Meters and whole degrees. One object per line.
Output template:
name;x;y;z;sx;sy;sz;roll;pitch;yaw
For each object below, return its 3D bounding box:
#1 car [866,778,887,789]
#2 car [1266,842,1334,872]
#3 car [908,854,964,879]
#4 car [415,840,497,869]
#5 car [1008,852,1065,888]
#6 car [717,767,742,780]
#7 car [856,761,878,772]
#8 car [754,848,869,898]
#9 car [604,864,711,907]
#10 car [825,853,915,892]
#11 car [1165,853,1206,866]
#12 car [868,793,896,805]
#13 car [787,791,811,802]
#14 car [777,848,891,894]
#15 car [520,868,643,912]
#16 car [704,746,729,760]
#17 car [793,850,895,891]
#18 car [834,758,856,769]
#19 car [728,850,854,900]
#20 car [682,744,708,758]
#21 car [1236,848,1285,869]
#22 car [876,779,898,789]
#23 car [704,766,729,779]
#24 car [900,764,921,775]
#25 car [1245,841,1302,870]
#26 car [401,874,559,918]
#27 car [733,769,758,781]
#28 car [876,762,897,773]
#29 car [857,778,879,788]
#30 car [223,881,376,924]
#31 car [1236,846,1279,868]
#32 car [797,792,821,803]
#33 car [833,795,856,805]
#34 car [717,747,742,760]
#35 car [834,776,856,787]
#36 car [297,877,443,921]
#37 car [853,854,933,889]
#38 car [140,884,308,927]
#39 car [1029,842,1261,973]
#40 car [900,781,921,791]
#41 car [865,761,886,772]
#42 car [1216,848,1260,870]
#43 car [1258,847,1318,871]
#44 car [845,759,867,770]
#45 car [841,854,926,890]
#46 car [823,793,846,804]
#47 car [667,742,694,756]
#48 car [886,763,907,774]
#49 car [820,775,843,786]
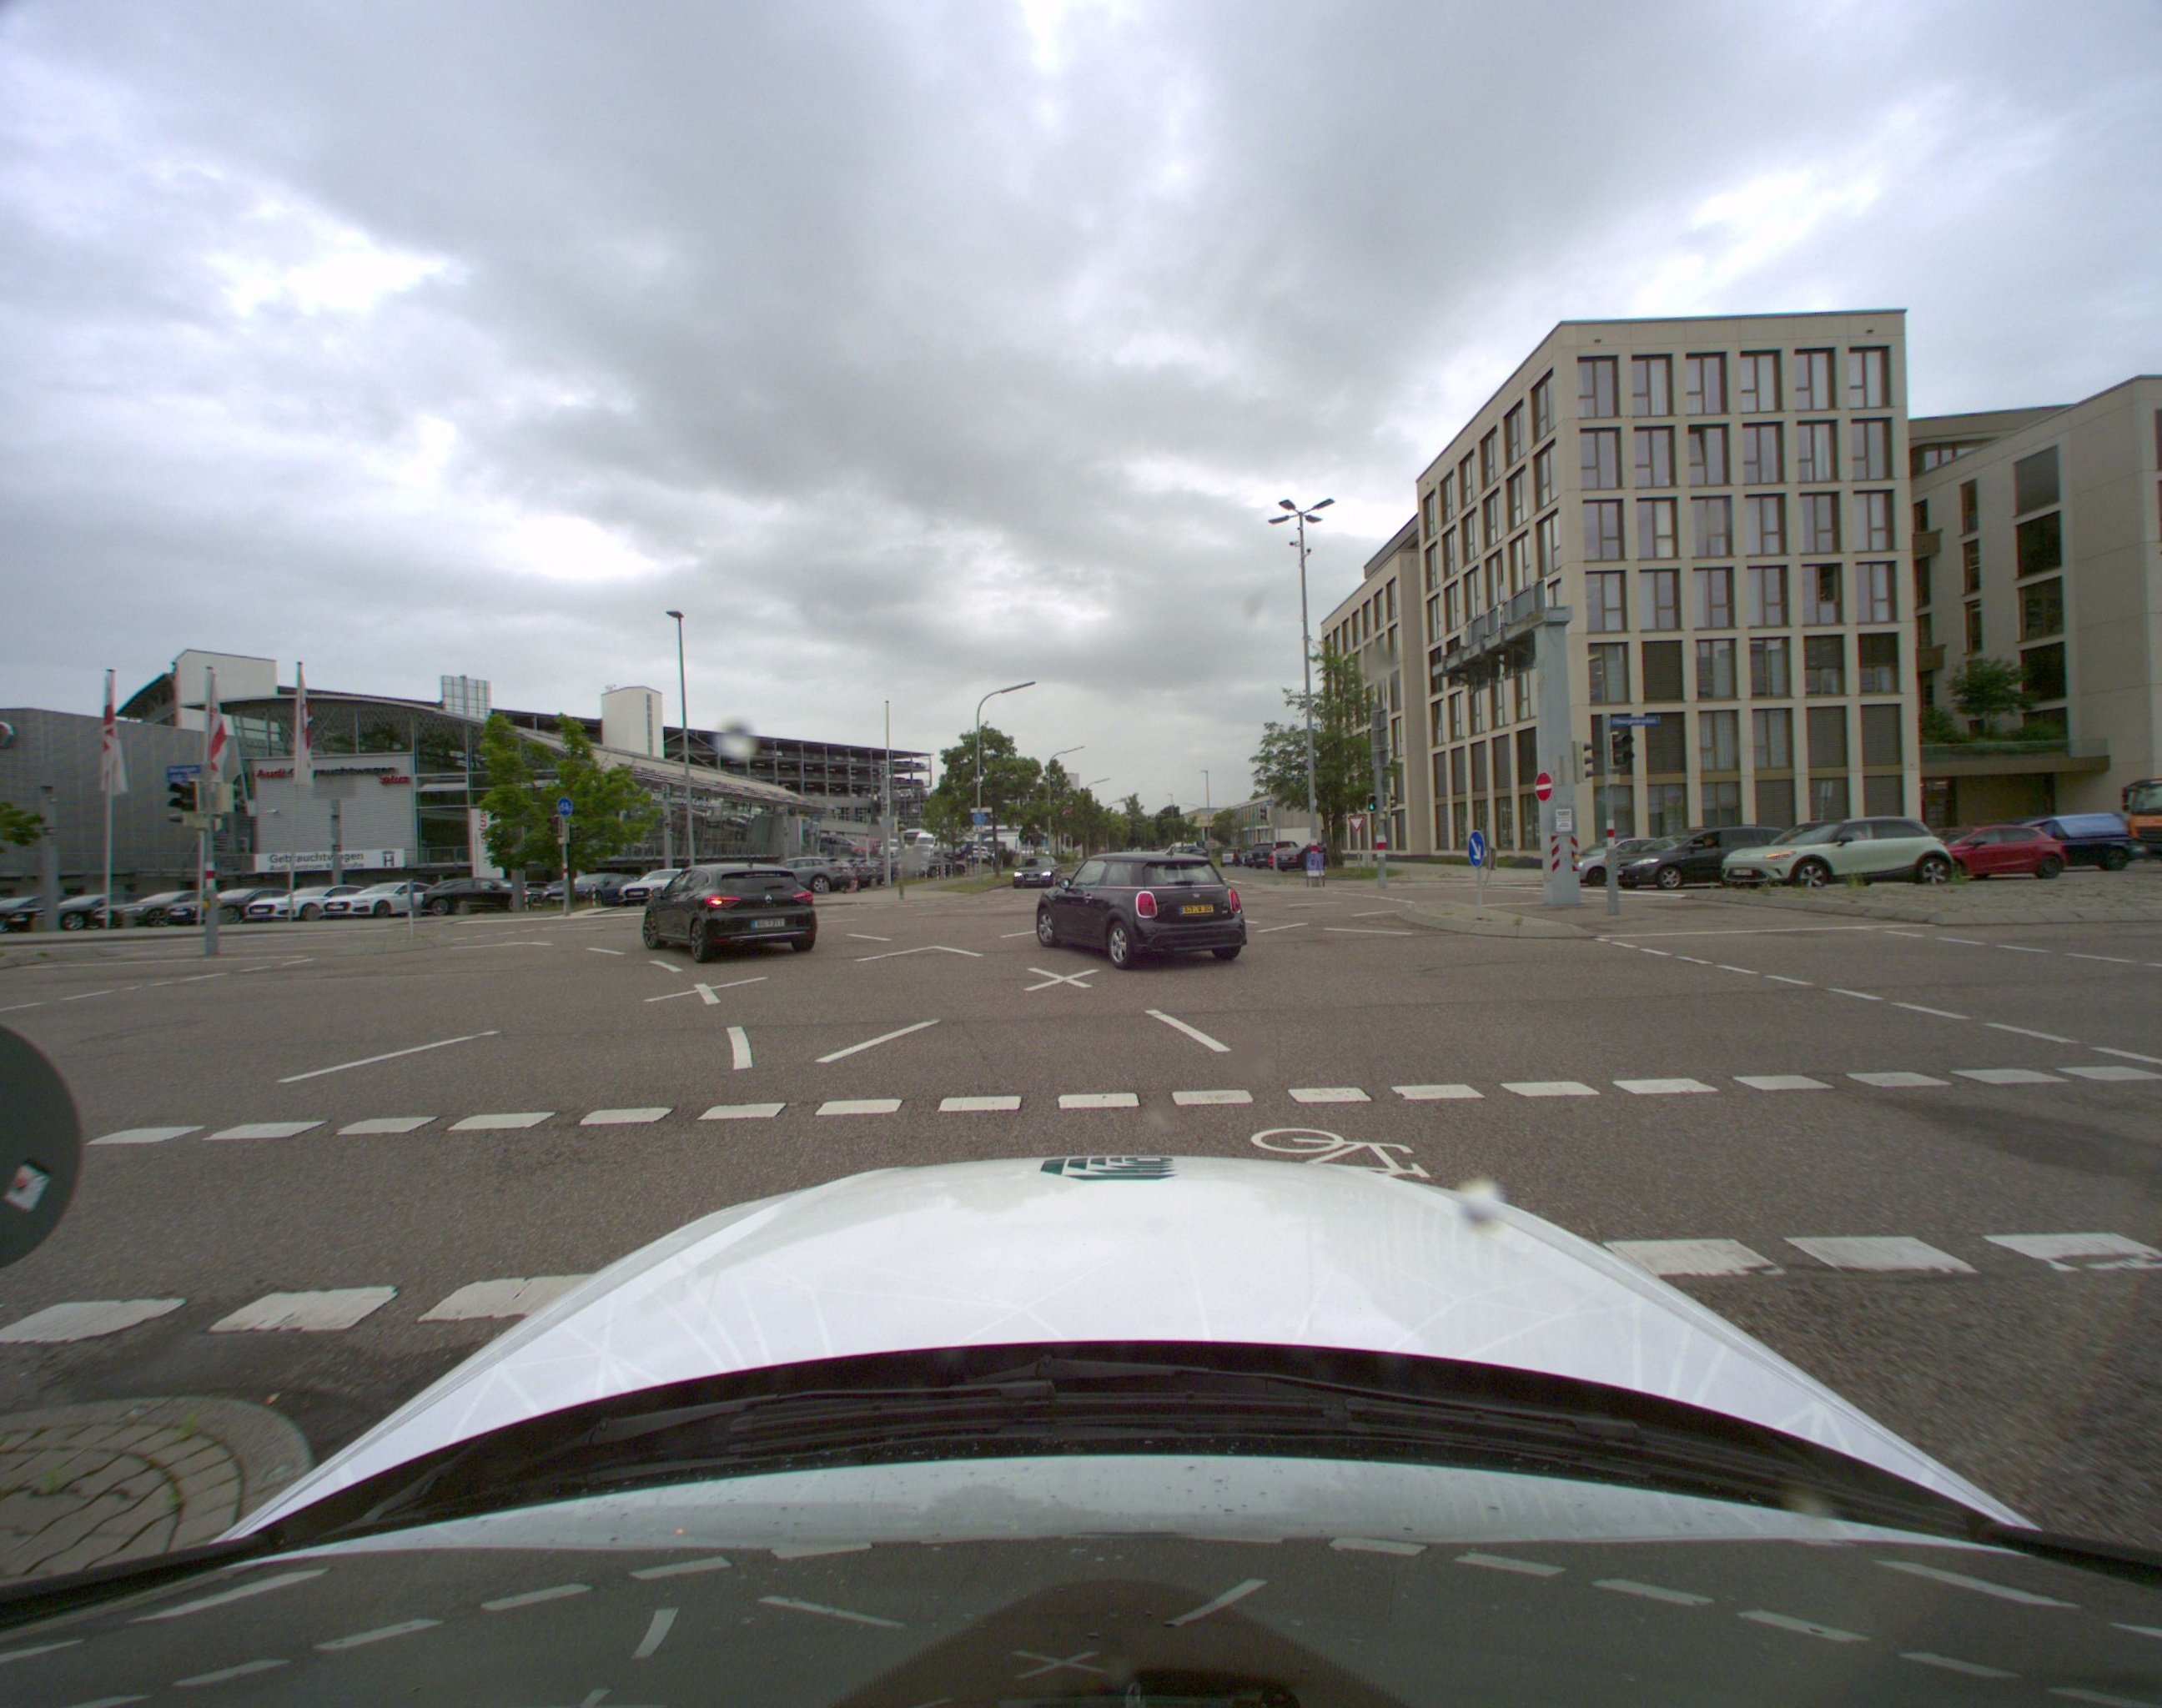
car;-39.944;-13.747;159.088;3.948;1.667;2.013;-1;0;35
car;13.603;0.190;50.516;4.152;1.768;1.868;-1;-1;-36
car;-11.227;0.961;63.034;3.973;1.838;1.760;0;-1;0
car;-36.904;0.049;48.206;1.814;1.662;3.997;0;-1;-1
car;-1.994;0.696;37.880;1.969;1.551;4.619;-2;0;4
car;-57.588;-13.178;133.458;3.948;1.667;2.013;-1;0;35
car;-41.503;-17.017;157.632;3.948;1.667;2.013;-1;0;35
car;-12.769;0.878;38.809;4.687;2.014;1.999;-4;-1;-1
car;-16.403;1.227;31.823;1.862;1.486;4.229;-3;-2;1
car;-12.851;1.144;49.781;4.879;2.014;1.999;-4;-1;-2
car;13.794;0.748;107.758;5.155;1.720;2.144;0;-1;1
car;-39.643;-10.880;162.040;5.262;1.945;2.225;-1;0;32
car;-49.957;-10.121;144.235;3.948;1.667;2.013;-1;0;35
car;-12.607;0.867;41.816;5.008;2.014;2.265;-4;-1;-1
car;-19.331;1.425;31.778;2.057;1.486;4.513;-3;-3;-2
car;-58.901;-16.313;131.625;3.948;1.667;2.013;-1;0;35
car;-12.866;0.903;44.464;4.935;1.876;2.051;-4;-1;-3
car;-44.301;-16.957;152.786;3.948;1.667;2.013;-1;0;35
car;-12.821;0.913;36.236;4.759;1.863;1.999;-4;-1;-2
car;-61.265;-16.339;129.267;3.948;1.667;2.013;-1;0;35
car;13.603;0.315;61.576;3.839;1.511;1.676;-1;-1;-44
car;-38.512;-13.852;161.543;3.948;1.667;2.013;-1;0;35
car;-58.858;-13.204;131.487;3.948;1.667;2.013;-1;0;35
car;-34.992;-17.304;166.904;3.948;1.667;2.013;-1;0;35
car;13.781;0.093;58.158;1.975;1.965;4.270;-3;-2;45
car;-23.379;1.645;31.800;4.724;1.486;1.892;-2;-3;0
car;-55.856;-13.154;135.524;3.948;1.667;2.013;-1;0;35
car;-38.597;-17.208;161.619;3.948;1.667;2.013;-1;0;35
car;-41.204;-13.689;157.188;3.948;1.667;2.013;-1;0;35
car;-29.701;1.829;31.156;1.864;1.486;4.043;-2;-3;0
car;14.373;0.269;66.254;3.450;1.798;1.572;0;-1;-38
car;-48.824;-10.098;146.150;3.948;1.667;2.013;-1;0;35
car;-44.403;-10.164;153.018;3.948;1.667;2.013;-1;0;35
car;-57.715;-16.498;133.750;3.948;1.667;2.013;-1;0;35
car;-44.245;-13.638;152.578;3.948;1.667;2.013;-1;0;35
car;-27.187;1.724;31.366;1.840;1.486;4.198;-2;-3;1
car;-12.718;1.211;55.337;4.879;2.014;1.999;-4;-1;-2
car;-32.504;1.937;31.091;1.859;1.486;4.231;-2;-3;1
car;0.716;0.593;11.496;1.794;1.415;3.615;-1;3;-24
car;-34.918;-13.822;166.673;3.948;1.667;2.013;-1;0;35
car;-40.261;-17.073;159.493;3.948;1.667;2.013;-1;0;35
car;13.059;0.438;67.800;3.450;1.732;1.746;0;-1;-38
car;14.009;0.322;54.934;4.156;1.551;1.866;-1;-1;-42
car;-42.791;-17.010;155.014;3.948;1.667;2.013;-1;0;35
car;-12.686;1.160;52.499;4.879;2.014;1.999;-4;-1;-2
car;-45.675;-10.271;150.648;3.948;1.667;2.013;-1;0;35
car;-62.523;-16.369;127.153;3.948;1.667;2.013;-1;0;35
car;-37.061;-17.179;163.651;3.948;1.667;2.013;-1;0;35
car;-46.023;-13.537;150.097;3.948;1.667;2.013;-1;0;35
